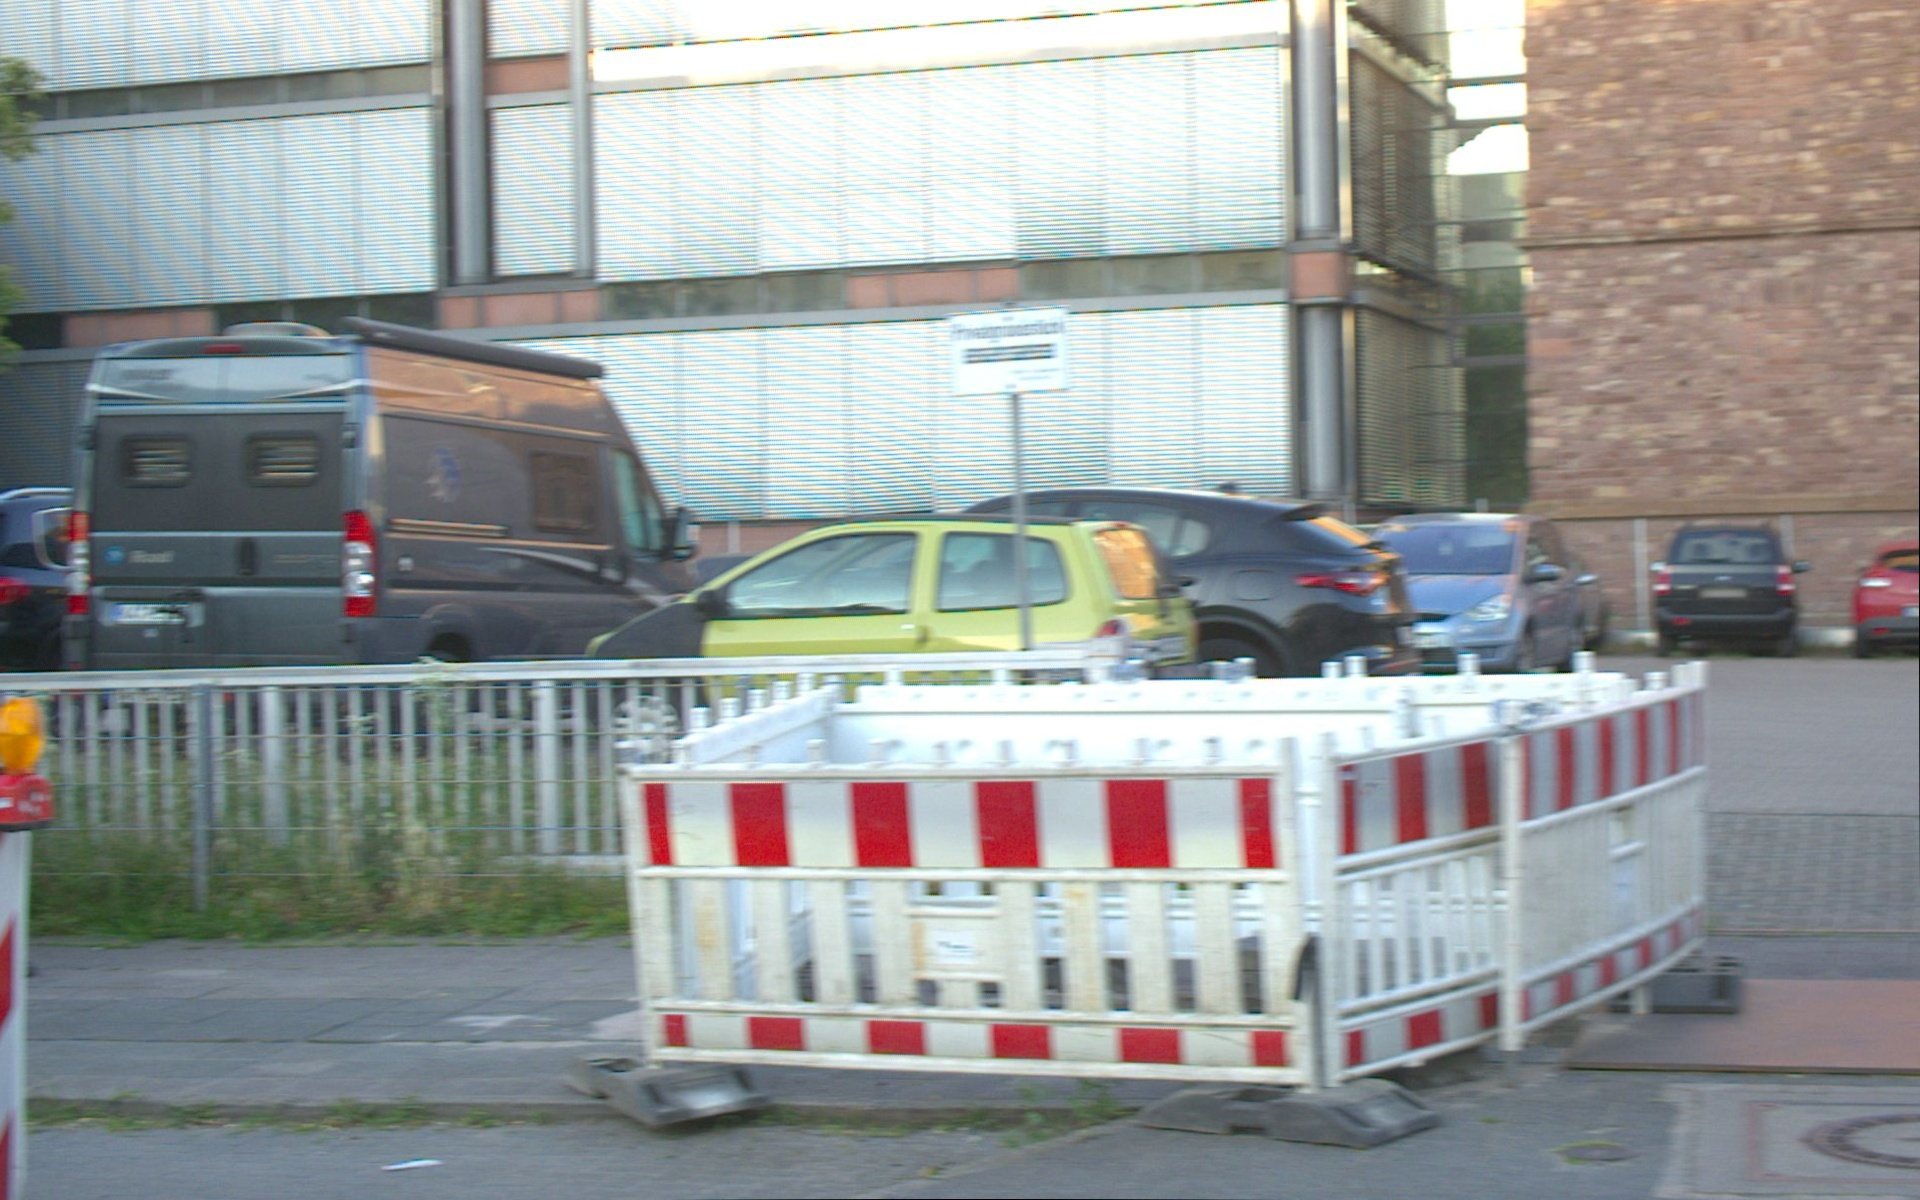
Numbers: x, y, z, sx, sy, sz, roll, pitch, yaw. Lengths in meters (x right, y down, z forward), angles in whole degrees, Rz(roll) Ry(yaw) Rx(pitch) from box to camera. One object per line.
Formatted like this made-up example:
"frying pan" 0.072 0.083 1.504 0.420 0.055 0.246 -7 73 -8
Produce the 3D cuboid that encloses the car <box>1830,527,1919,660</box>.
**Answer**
"car" 11.731 -0.121 41.898 1.898 1.532 4.176 -1 1 18

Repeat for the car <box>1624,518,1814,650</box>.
"car" 9.522 -0.221 42.921 1.898 1.532 4.176 -1 1 18

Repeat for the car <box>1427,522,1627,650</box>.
"car" 7.303 -0.206 43.972 1.898 1.532 4.176 -1 1 18

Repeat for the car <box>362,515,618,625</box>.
"car" -6.509 -0.440 48.106 1.898 1.427 4.176 -1 1 18

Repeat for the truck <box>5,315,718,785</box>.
"truck" -3.595 -0.307 21.845 2.336 2.608 4.968 -1 1 18

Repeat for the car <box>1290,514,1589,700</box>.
"car" 4.516 0.024 31.834 1.995 1.571 4.361 -1 1 18

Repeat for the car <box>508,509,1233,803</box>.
"car" -0.475 0.308 19.038 3.635 1.498 1.636 -1 0 19

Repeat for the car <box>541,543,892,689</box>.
"car" -2.313 0.120 33.924 1.941 1.301 4.361 -1 1 18

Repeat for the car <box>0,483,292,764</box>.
"car" -6.238 0.123 22.640 1.995 1.686 3.997 -1 1 15

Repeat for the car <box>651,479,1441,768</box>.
"car" 0.531 0.158 21.295 4.587 1.632 1.574 -1 0 19
